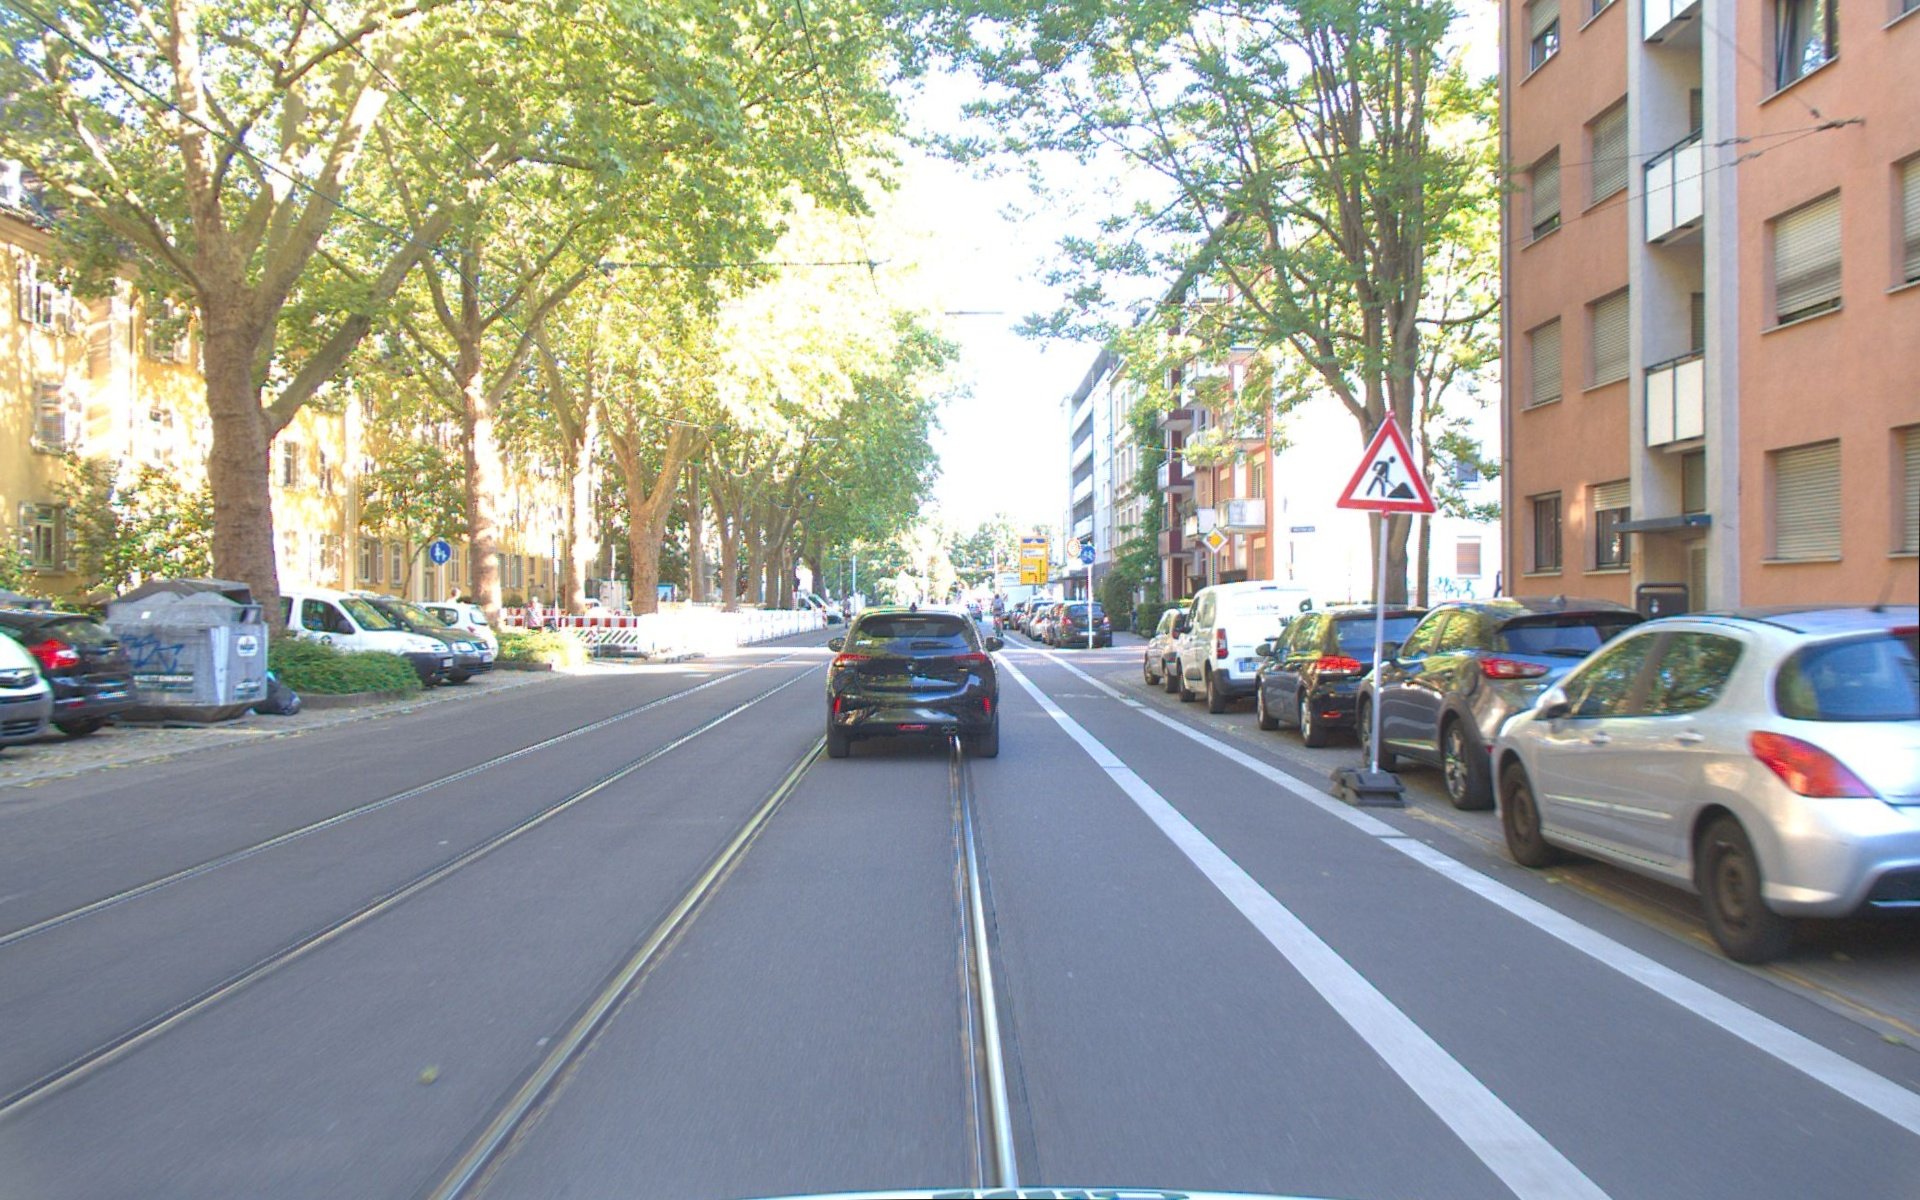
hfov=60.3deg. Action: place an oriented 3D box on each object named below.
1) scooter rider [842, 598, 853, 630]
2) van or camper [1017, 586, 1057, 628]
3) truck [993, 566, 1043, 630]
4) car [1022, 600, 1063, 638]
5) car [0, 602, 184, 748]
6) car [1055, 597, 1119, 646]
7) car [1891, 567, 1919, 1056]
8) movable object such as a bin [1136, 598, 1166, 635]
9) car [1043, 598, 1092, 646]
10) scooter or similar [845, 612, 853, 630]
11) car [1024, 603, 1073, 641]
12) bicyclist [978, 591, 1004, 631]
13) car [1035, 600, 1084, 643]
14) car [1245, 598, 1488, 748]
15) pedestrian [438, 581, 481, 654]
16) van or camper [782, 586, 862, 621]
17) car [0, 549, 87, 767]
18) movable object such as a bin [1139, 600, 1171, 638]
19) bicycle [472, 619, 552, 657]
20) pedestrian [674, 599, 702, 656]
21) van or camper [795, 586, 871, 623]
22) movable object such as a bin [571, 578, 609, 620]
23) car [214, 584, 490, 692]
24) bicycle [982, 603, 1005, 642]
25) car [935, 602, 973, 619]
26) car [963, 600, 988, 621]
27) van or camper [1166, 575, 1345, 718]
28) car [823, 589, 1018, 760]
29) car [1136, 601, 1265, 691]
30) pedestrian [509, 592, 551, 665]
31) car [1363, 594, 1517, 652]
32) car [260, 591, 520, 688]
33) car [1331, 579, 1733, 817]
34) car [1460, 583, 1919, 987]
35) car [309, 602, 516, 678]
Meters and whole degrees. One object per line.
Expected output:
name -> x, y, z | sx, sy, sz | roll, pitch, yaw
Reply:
scooter rider -> -7.102, 0.871, 104.637 | 0.636, 1.991, 0.624 | 1, -1, 0
van or camper -> 3.646, 0.317, 78.599 | 1.635, 1.916, 4.210 | -1, 0, 0
truck -> 3.320, -0.090, 95.914 | 2.486, 3.396, 7.194 | -3, 0, 0
car -> 3.653, 0.841, 73.707 | 1.626, 1.608, 3.588 | -1, 0, 0
car -> -10.985, 0.812, 18.424 | 3.769, 1.524, 1.862 | -1, 0, 0
car -> 4.131, 0.680, 54.400 | 1.698, 1.487, 3.915 | -2, 0, -1
car -> 4.136, 0.683, 3.555 | 1.756, 1.656, 4.275 | -2, 0, -1
movable object such as a bin -> 7.142, 0.624, 62.022 | 0.905, 1.350, 1.681 | 1, -1, 0
car -> 3.778, 0.760, 58.491 | 1.495, 1.618, 3.751 | 1, -1, 0
scooter or similar -> -7.045, 1.329, 104.708 | 0.399, 1.102, 1.338 | 1, -1, 0
car -> 3.634, 0.888, 68.604 | 1.625, 1.424, 4.739 | -2, 0, -1
bicyclist -> 1.305, 0.458, 69.231 | 1.067, 1.676, 1.400 | 0, 0, 1
car -> 3.773, 0.815, 63.079 | 1.559, 1.553, 3.835 | -2, -1, 0
car -> 4.480, 0.735, 18.844 | 1.671, 1.499, 4.167 | -1, 0, -1
pedestrian -> -12.403, 0.437, 41.019 | 0.805, 1.776, 0.796 | 1, -1, -1
van or camper -> -9.717, 0.257, 116.728 | 5.387, 2.421, 2.270 | 1, -1, 3
car -> -11.049, 0.516, 15.568 | 4.565, 1.979, 1.960 | 0, 0, -4
movable object such as a bin -> 7.107, 0.677, 60.231 | 0.947, 1.350, 1.721 | 1, -1, 0
bicycle -> -12.039, 1.018, 44.469 | 1.931, 0.979, 0.726 | 0, 0, 0
pedestrian -> -8.194, 0.824, 49.876 | 0.702, 1.698, 0.778 | 1, -1, 0
van or camper -> -9.633, 0.345, 126.022 | 5.606, 2.690, 2.269 | 1, -1, 0
movable object such as a bin -> -17.101, -0.041, 76.505 | 1.306, 1.901, 2.007 | 1, -1, -1
car -> -10.451, 0.637, 28.629 | 4.112, 1.788, 1.740 | 0, 0, 0
bicycle -> 1.402, 0.925, 69.399 | 0.897, 1.588, 3.405 | 0, 0, 1
car -> -0.645, 1.155, 177.706 | 1.902, 1.725, 4.266 | -2, 0, -36
car -> 1.308, 0.922, 143.038 | 1.953, 1.725, 4.739 | -2, 0, -1
van or camper -> 4.273, 0.616, 24.610 | 1.719, 1.897, 4.829 | -1, 0, -1
car -> -0.386, 0.669, 16.865 | 1.745, 1.522, 3.999 | 0, 0, -1
car -> 4.273, 0.779, 29.916 | 1.671, 1.499, 3.999 | -1, 0, -1
pedestrian -> -10.630, 0.705, 40.926 | 0.805, 1.776, 0.796 | 1, -1, -1
car -> 13.404, 0.623, 46.320 | 3.834, 1.508, 1.561 | 0, 3, -2
car -> -10.636, 0.721, 31.031 | 4.144, 1.717, 1.934 | -1, 0, 6
car -> 4.500, 0.683, 13.765 | 1.732, 1.599, 4.336 | -2, 0, -1
car -> 4.224, 0.719, 8.722 | 1.752, 1.548, 4.321 | -2, 0, -1
car -> -11.589, 0.823, 35.197 | 3.769, 1.524, 1.862 | -1, 0, 0
